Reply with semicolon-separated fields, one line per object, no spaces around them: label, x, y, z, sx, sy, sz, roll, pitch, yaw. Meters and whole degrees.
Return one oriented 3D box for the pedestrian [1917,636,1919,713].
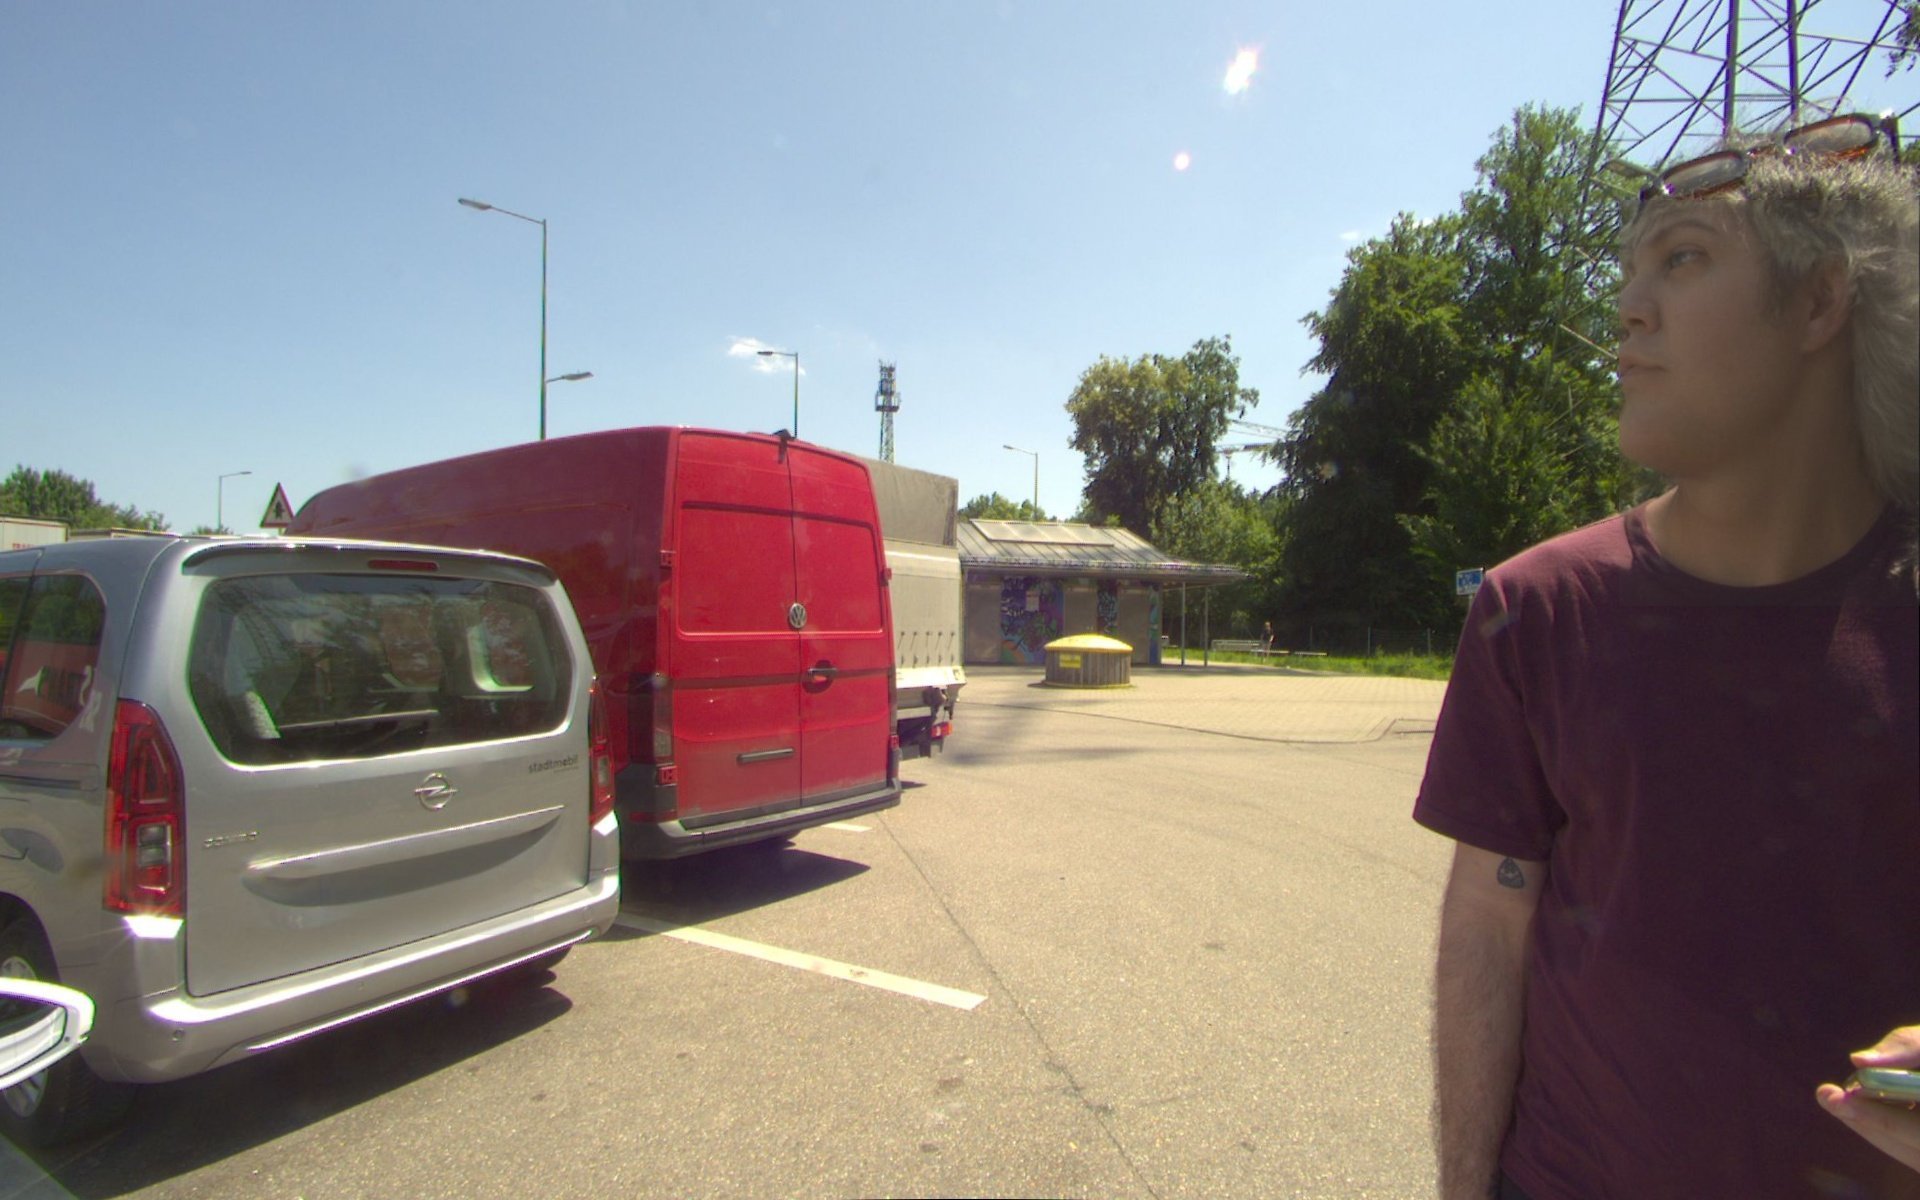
pedestrian;17.259;1.312;17.480;0.690;1.352;0.561;-1;-1;33

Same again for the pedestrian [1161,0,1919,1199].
pedestrian;0.764;0.561;0.830;0.852;1.857;0.857;-1;-2;43

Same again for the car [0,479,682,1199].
car;-3.380;0.681;4.249;4.113;1.887;1.868;1;-2;31

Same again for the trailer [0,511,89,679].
trailer;-29.016;-0.265;28.140;14.184;4.040;2.808;2;-2;33

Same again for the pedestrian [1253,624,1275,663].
pedestrian;13.070;1.868;43.069;0.726;1.658;0.788;-1;-1;31

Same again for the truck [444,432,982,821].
truck;-2.736;0.298;10.288;5.581;2.949;2.449;-2;-2;37

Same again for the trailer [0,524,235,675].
trailer;-27.953;-0.108;31.786;14.184;4.040;2.808;2;-2;33

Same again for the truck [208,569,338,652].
truck;-32.095;0.459;46.759;5.813;3.566;2.799;2;-2;32

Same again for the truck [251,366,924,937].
truck;-2.887;0.331;7.049;5.238;2.655;1.972;-2;-2;38

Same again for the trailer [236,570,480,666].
trailer;-26.100;0.638;42.902;14.184;3.552;2.808;2;-2;33
